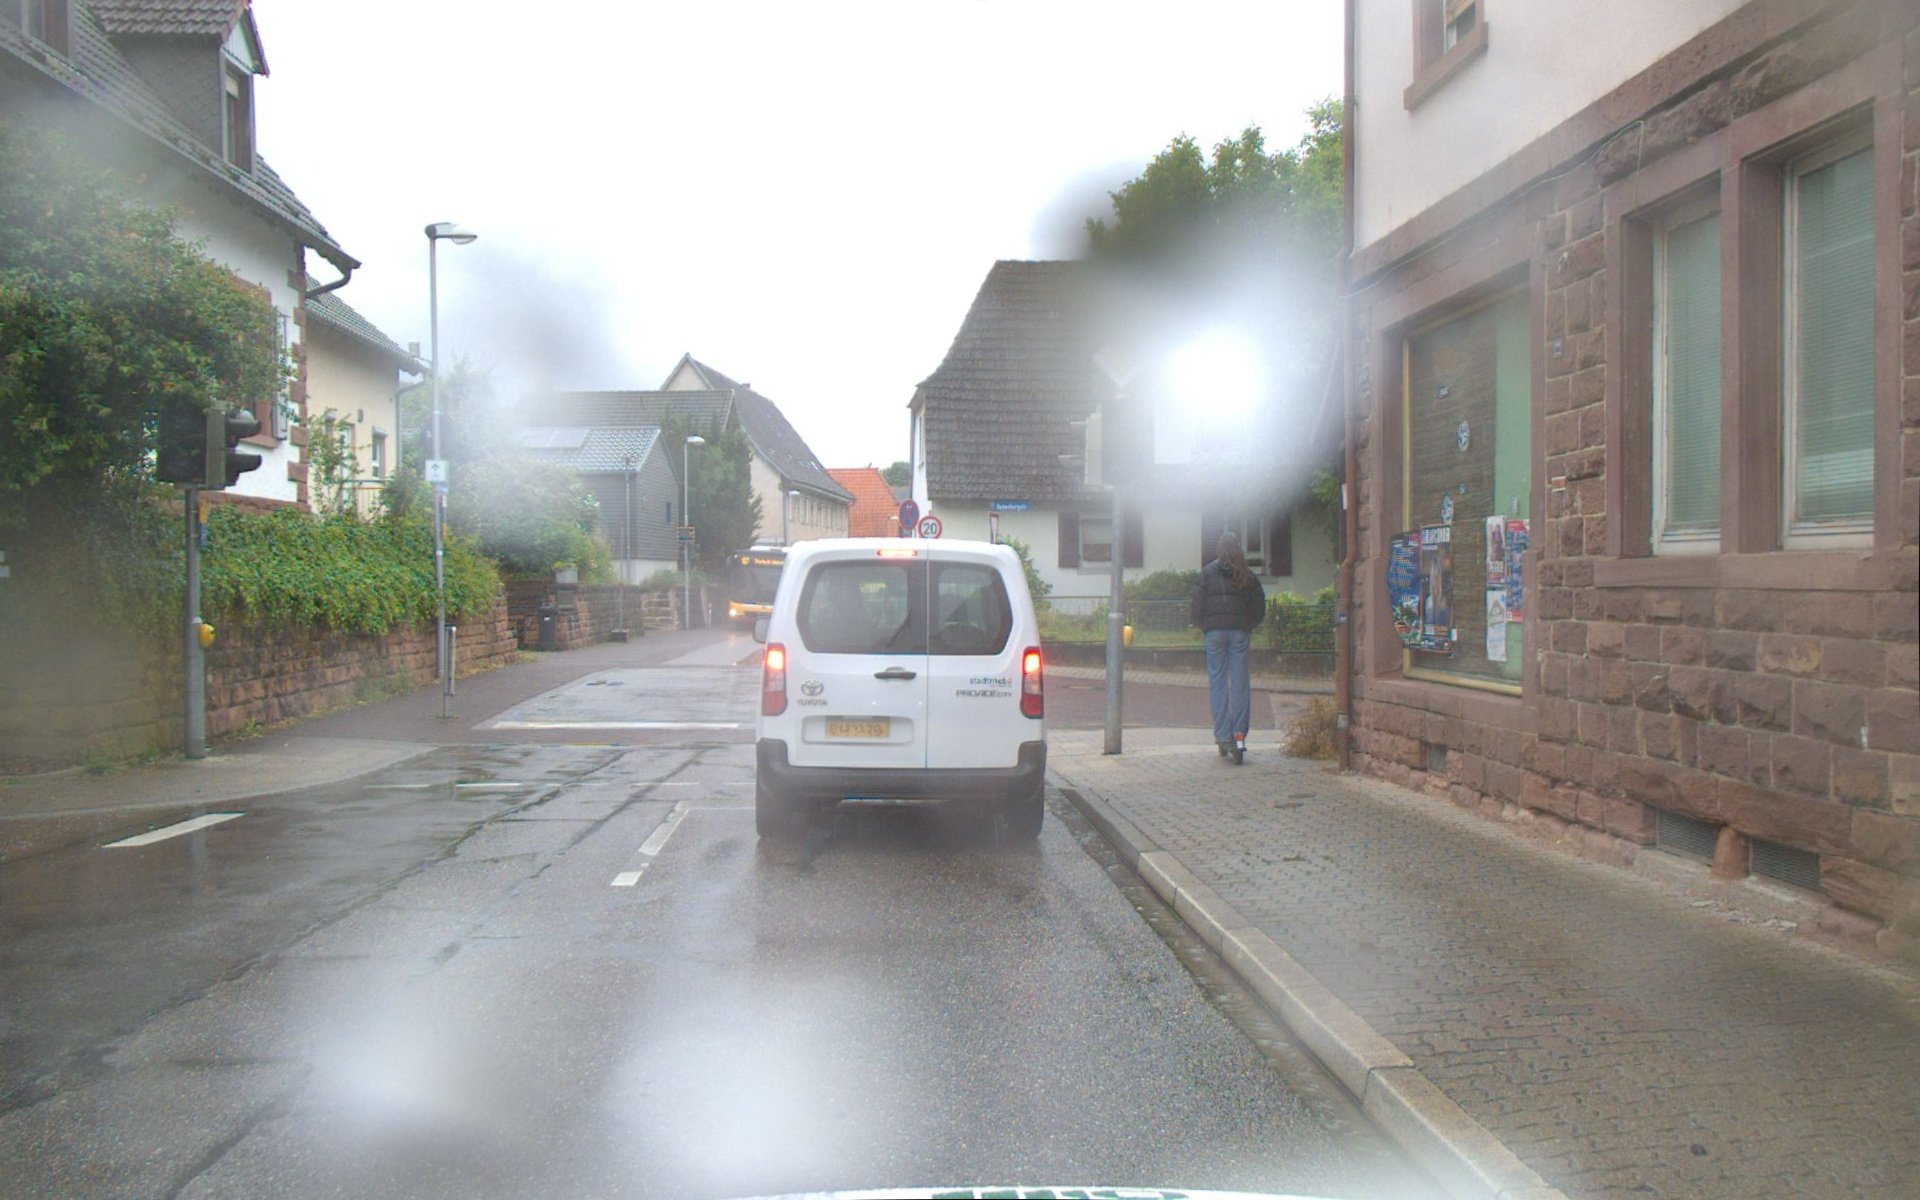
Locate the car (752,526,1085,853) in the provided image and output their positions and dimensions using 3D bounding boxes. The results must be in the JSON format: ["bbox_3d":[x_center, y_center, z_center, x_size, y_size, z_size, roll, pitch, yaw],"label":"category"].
[{"bbox_3d":[-0.353,0.494,11.276,1.857,1.825,3.810,1,0,-4],"label":"car"}]

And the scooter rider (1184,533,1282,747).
[{"bbox_3d":[2.294,0.326,13.922,0.716,1.763,0.518,0,0,-4],"label":"scooter rider"}]

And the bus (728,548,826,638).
[{"bbox_3d":[-6.786,-0.431,62.947,2.596,3.051,12.191,0,2,-1],"label":"bus"}]

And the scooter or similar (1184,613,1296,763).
[{"bbox_3d":[2.310,0.699,13.769,0.608,1.146,1.401,0,1,-4],"label":"scooter or similar"}]
